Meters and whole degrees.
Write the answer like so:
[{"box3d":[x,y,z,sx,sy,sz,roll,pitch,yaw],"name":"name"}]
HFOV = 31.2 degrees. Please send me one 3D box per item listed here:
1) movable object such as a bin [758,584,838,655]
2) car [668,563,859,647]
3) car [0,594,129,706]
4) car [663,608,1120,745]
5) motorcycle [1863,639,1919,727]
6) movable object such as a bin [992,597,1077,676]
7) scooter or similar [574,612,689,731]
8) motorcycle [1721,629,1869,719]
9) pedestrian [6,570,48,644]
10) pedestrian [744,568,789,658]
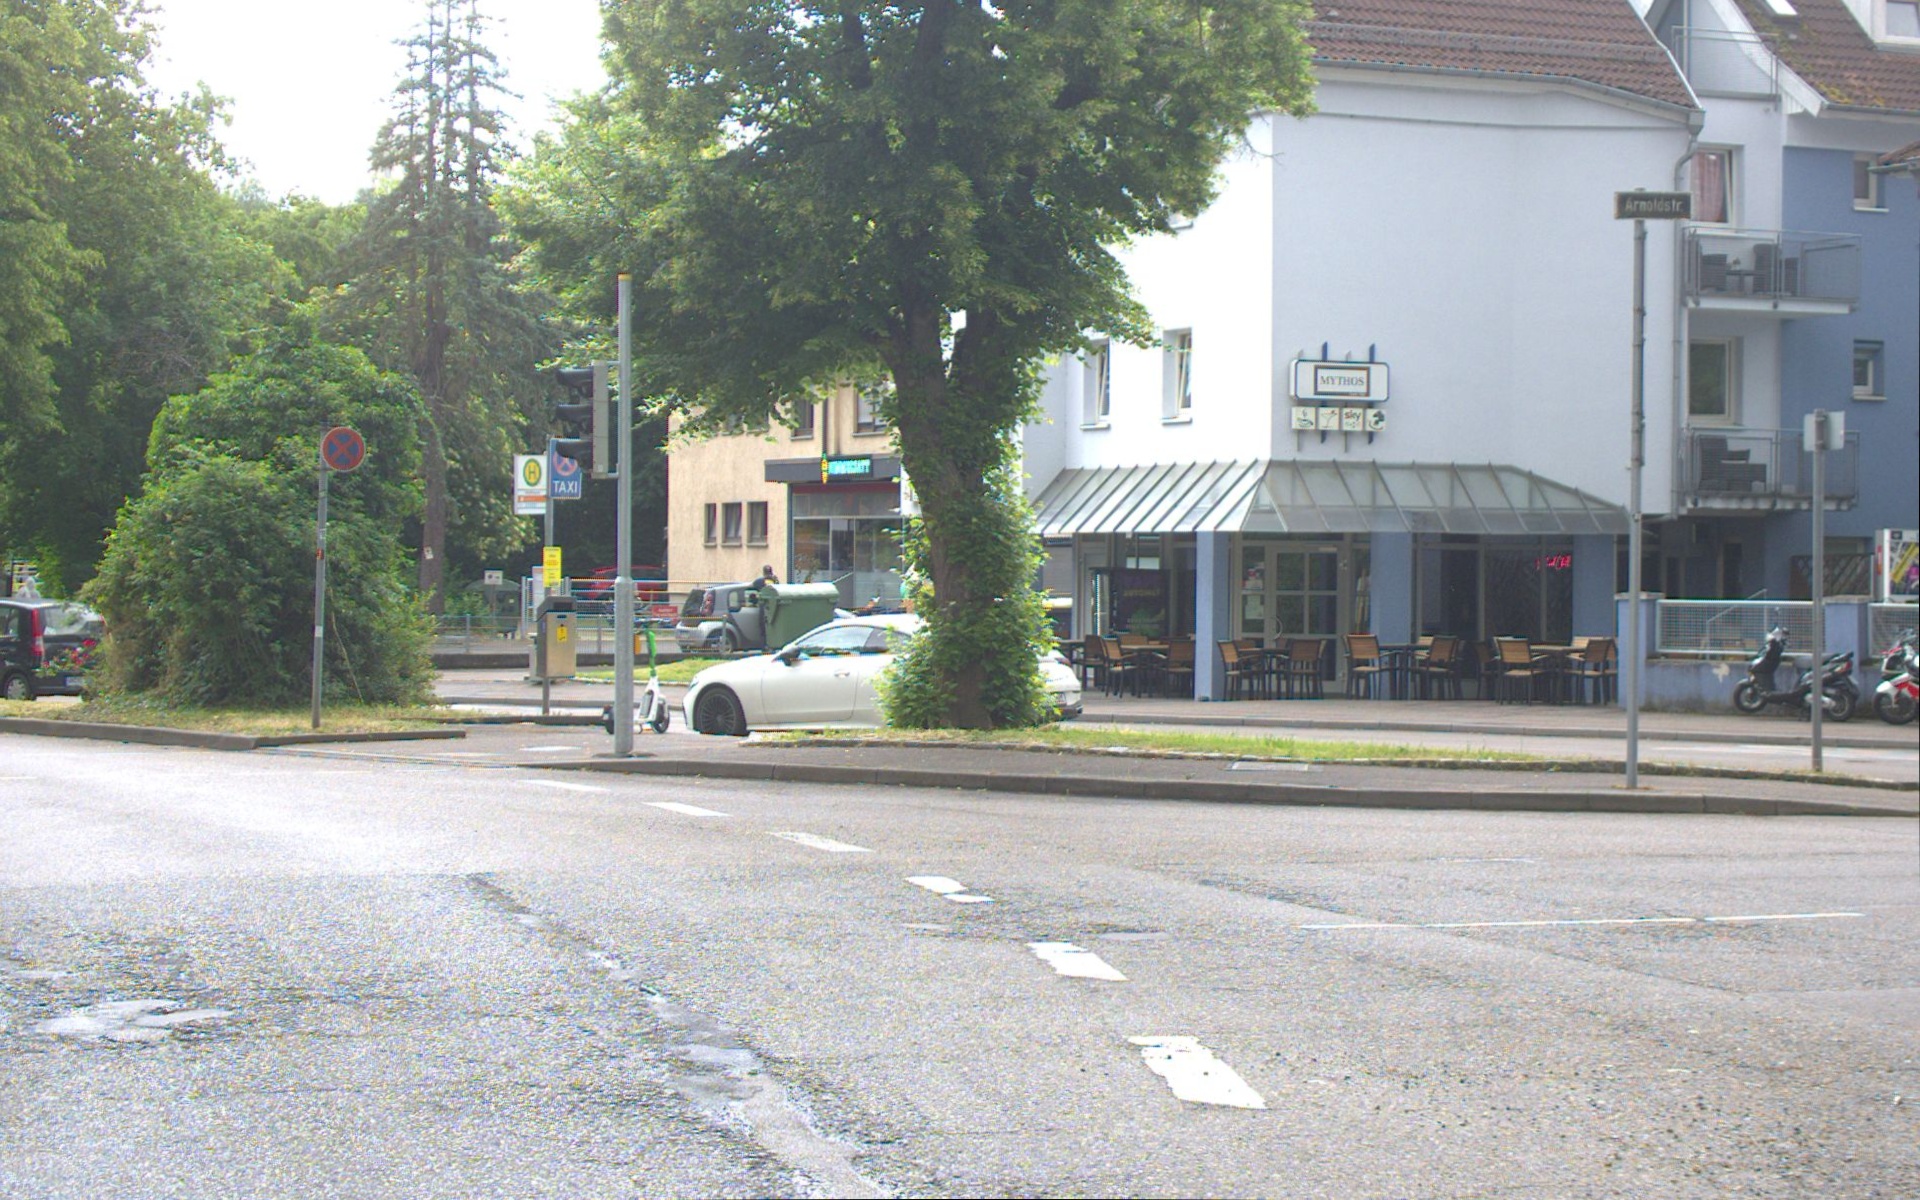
[{"box3d":[-3.107,0.374,65.706,1.216,1.340,0.995,0,0,-28],"name":"movable object such as a bin"},{"box3d":[-3.880,0.087,67.718,3.412,1.625,1.625,0,0,-21],"name":"car"},{"box3d":[-12.988,0.635,46.124,3.489,1.399,1.570,1,1,32],"name":"car"},{"box3d":[-0.792,0.786,37.352,4.783,1.382,1.996,0,0,38],"name":"car"},{"box3d":[11.219,0.953,39.116,0.520,0.982,1.822,0,0,-44],"name":"motorcycle"},{"box3d":[1.347,0.652,61.995,1.214,1.390,1.161,0,0,-18],"name":"movable object such as a bin"},{"box3d":[-3.289,0.725,34.534,0.412,1.163,1.360,1,-2,30],"name":"scooter or similar"},{"box3d":[9.966,0.876,41.085,0.488,1.028,1.724,0,0,-44],"name":"motorcycle"},{"box3d":[-19.693,0.142,72.548,0.683,1.546,0.743,0,1,-28],"name":"pedestrian"},{"box3d":[-3.754,0.248,66.705,0.687,1.723,0.611,0,0,-28],"name":"pedestrian"}]
